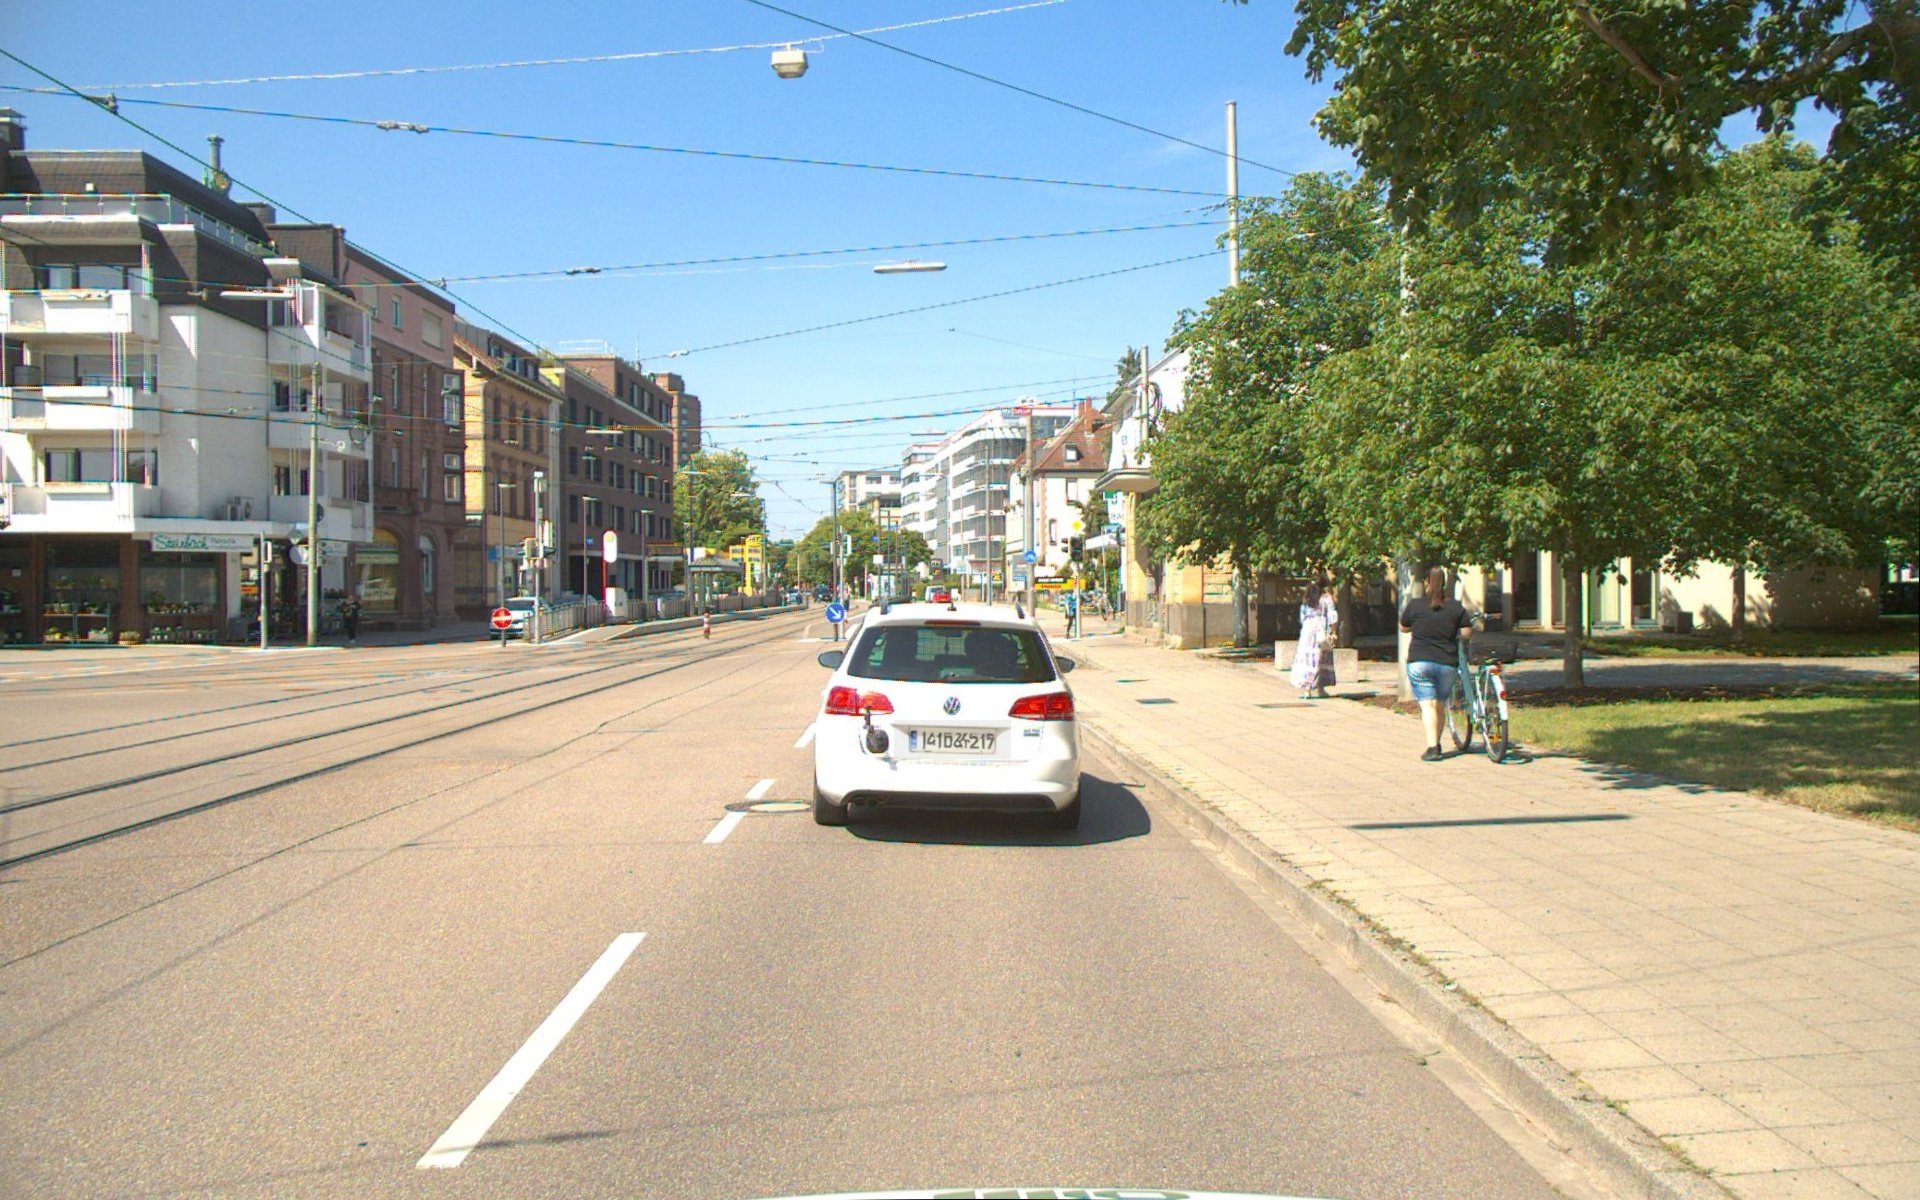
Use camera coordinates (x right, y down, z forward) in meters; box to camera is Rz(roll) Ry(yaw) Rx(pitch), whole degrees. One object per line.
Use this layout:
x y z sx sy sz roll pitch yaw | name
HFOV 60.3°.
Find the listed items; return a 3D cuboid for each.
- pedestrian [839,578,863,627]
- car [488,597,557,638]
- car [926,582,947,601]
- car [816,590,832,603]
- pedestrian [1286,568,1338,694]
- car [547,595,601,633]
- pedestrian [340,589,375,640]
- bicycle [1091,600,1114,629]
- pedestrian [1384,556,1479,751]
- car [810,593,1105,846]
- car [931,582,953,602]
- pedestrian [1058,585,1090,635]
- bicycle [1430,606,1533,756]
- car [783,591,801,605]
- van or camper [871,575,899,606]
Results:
-4.111 0.080 62.588 0.809 1.841 0.833 -1 0 0 | pedestrian
-16.016 0.617 60.713 1.593 1.456 3.961 0 0 -2 | car
-2.569 -0.907 178.238 1.955 2.049 3.996 -1 0 -5 | car
-16.175 -0.370 196.805 1.634 1.492 3.772 -1 0 -1 | car
4.862 0.424 22.876 0.636 1.711 0.708 -1 0 9 | pedestrian
-15.957 0.551 68.468 1.541 1.484 3.811 -1 0 -4 | car
-20.272 0.492 55.650 0.860 1.676 0.681 -1 0 19 | pedestrian
6.132 0.611 70.988 0.710 1.159 2.197 -1 0 12 | bicycle
3.951 0.434 13.890 0.529 1.576 0.663 -3 0 -1 | pedestrian
-0.022 0.696 11.685 1.717 1.442 3.853 -1 0 0 | car
-1.922 -0.886 172.820 1.955 2.049 3.996 -1 0 -5 | car
3.605 0.312 52.278 0.841 1.536 0.779 -1 0 -11 | pedestrian
4.273 0.629 13.645 0.524 1.131 1.808 -2 0 9 | bicycle
-18.861 -0.248 186.111 1.634 1.492 3.772 -1 0 -1 | car
-8.132 -1.065 180.861 2.884 3.235 6.611 -1 0 -2 | van or camper
